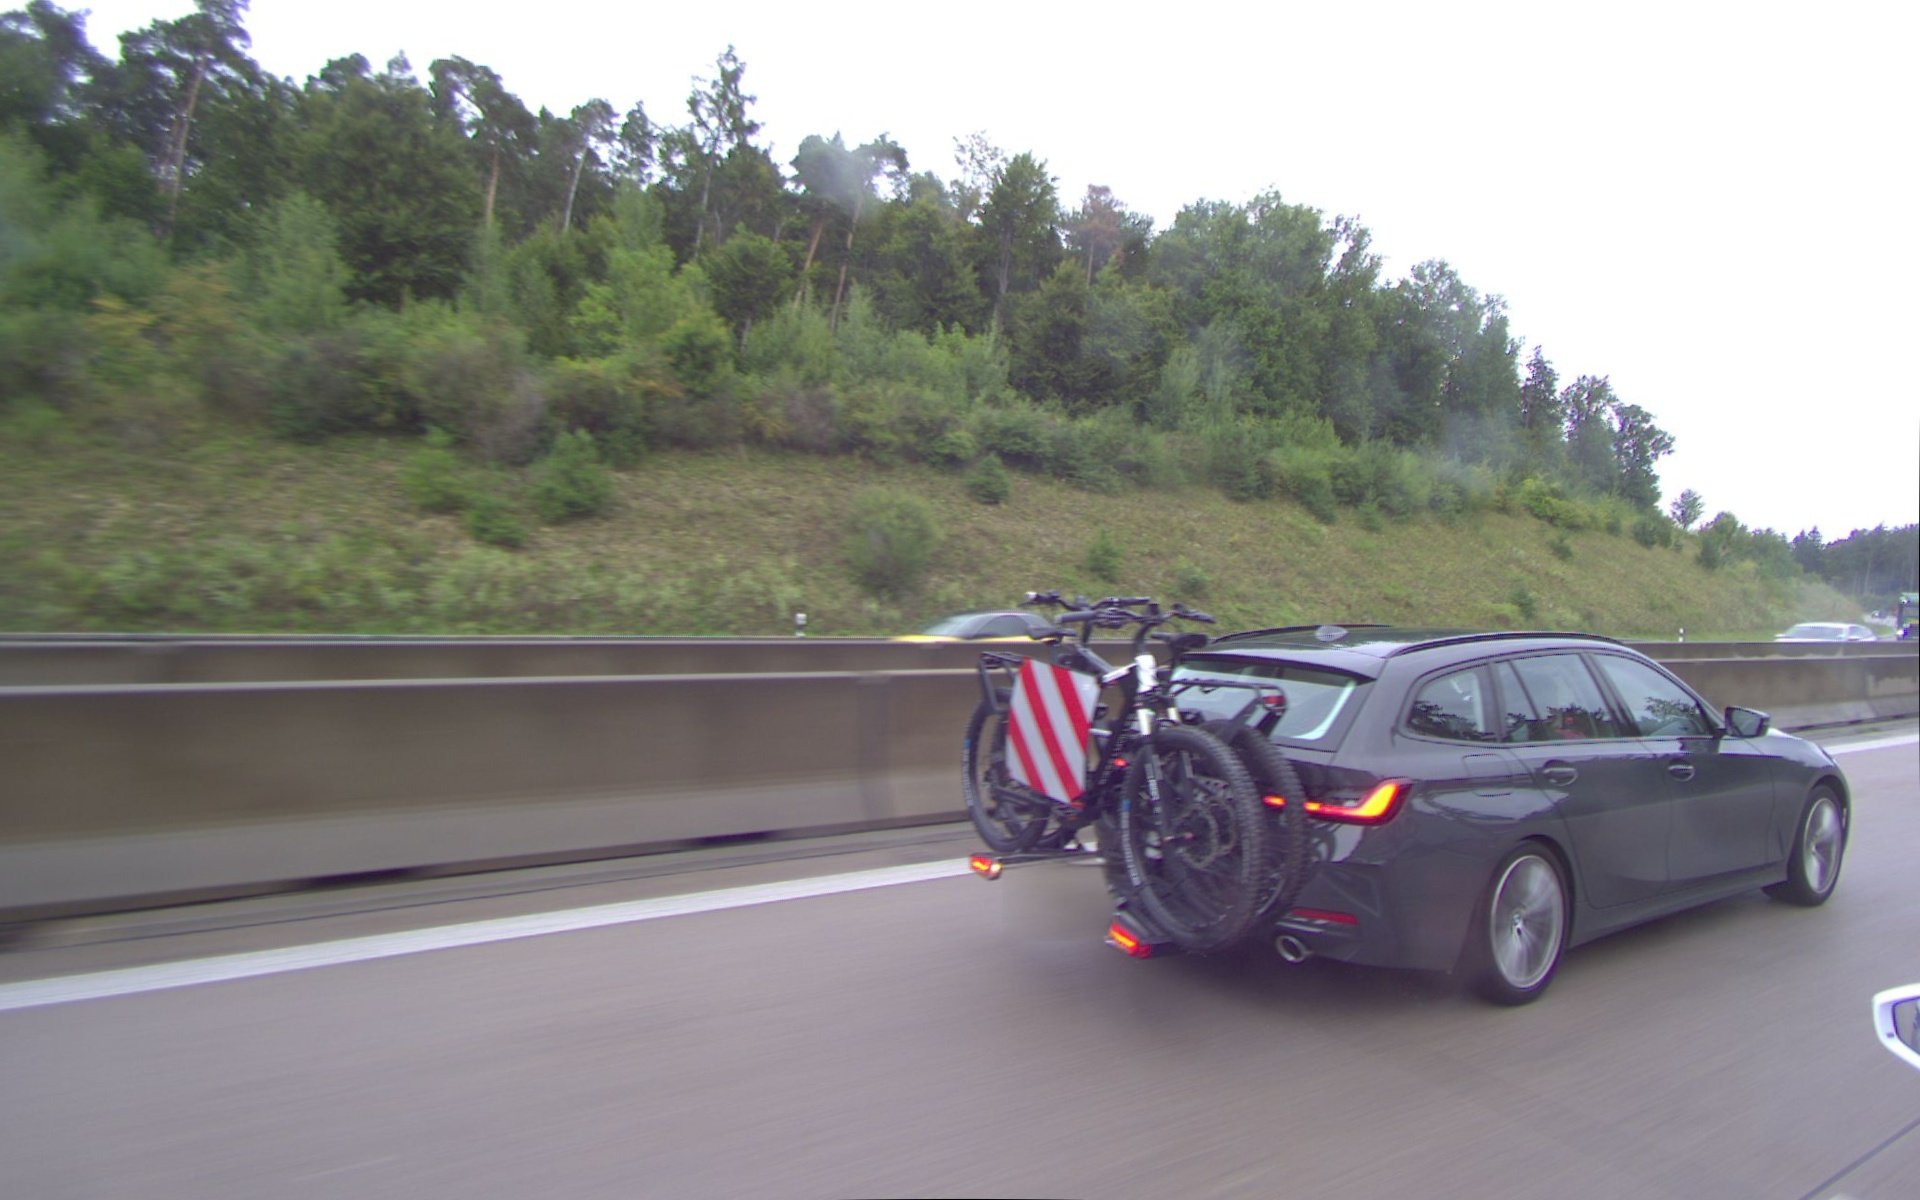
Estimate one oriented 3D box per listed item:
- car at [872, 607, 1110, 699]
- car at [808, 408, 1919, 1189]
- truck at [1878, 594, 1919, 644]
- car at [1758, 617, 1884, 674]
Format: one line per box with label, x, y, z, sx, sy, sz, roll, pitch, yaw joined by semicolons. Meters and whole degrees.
car;0.627;0.912;18.438;4.238;1.507;1.565;1;0;-33
car;2.465;0.563;4.937;6.092;1.971;1.898;1;0;-31
truck;80.487;1.606;84.828;8.042;4.013;2.906;1;0;-37
car;26.343;1.366;30.710;4.236;1.582;1.732;1;0;-32
